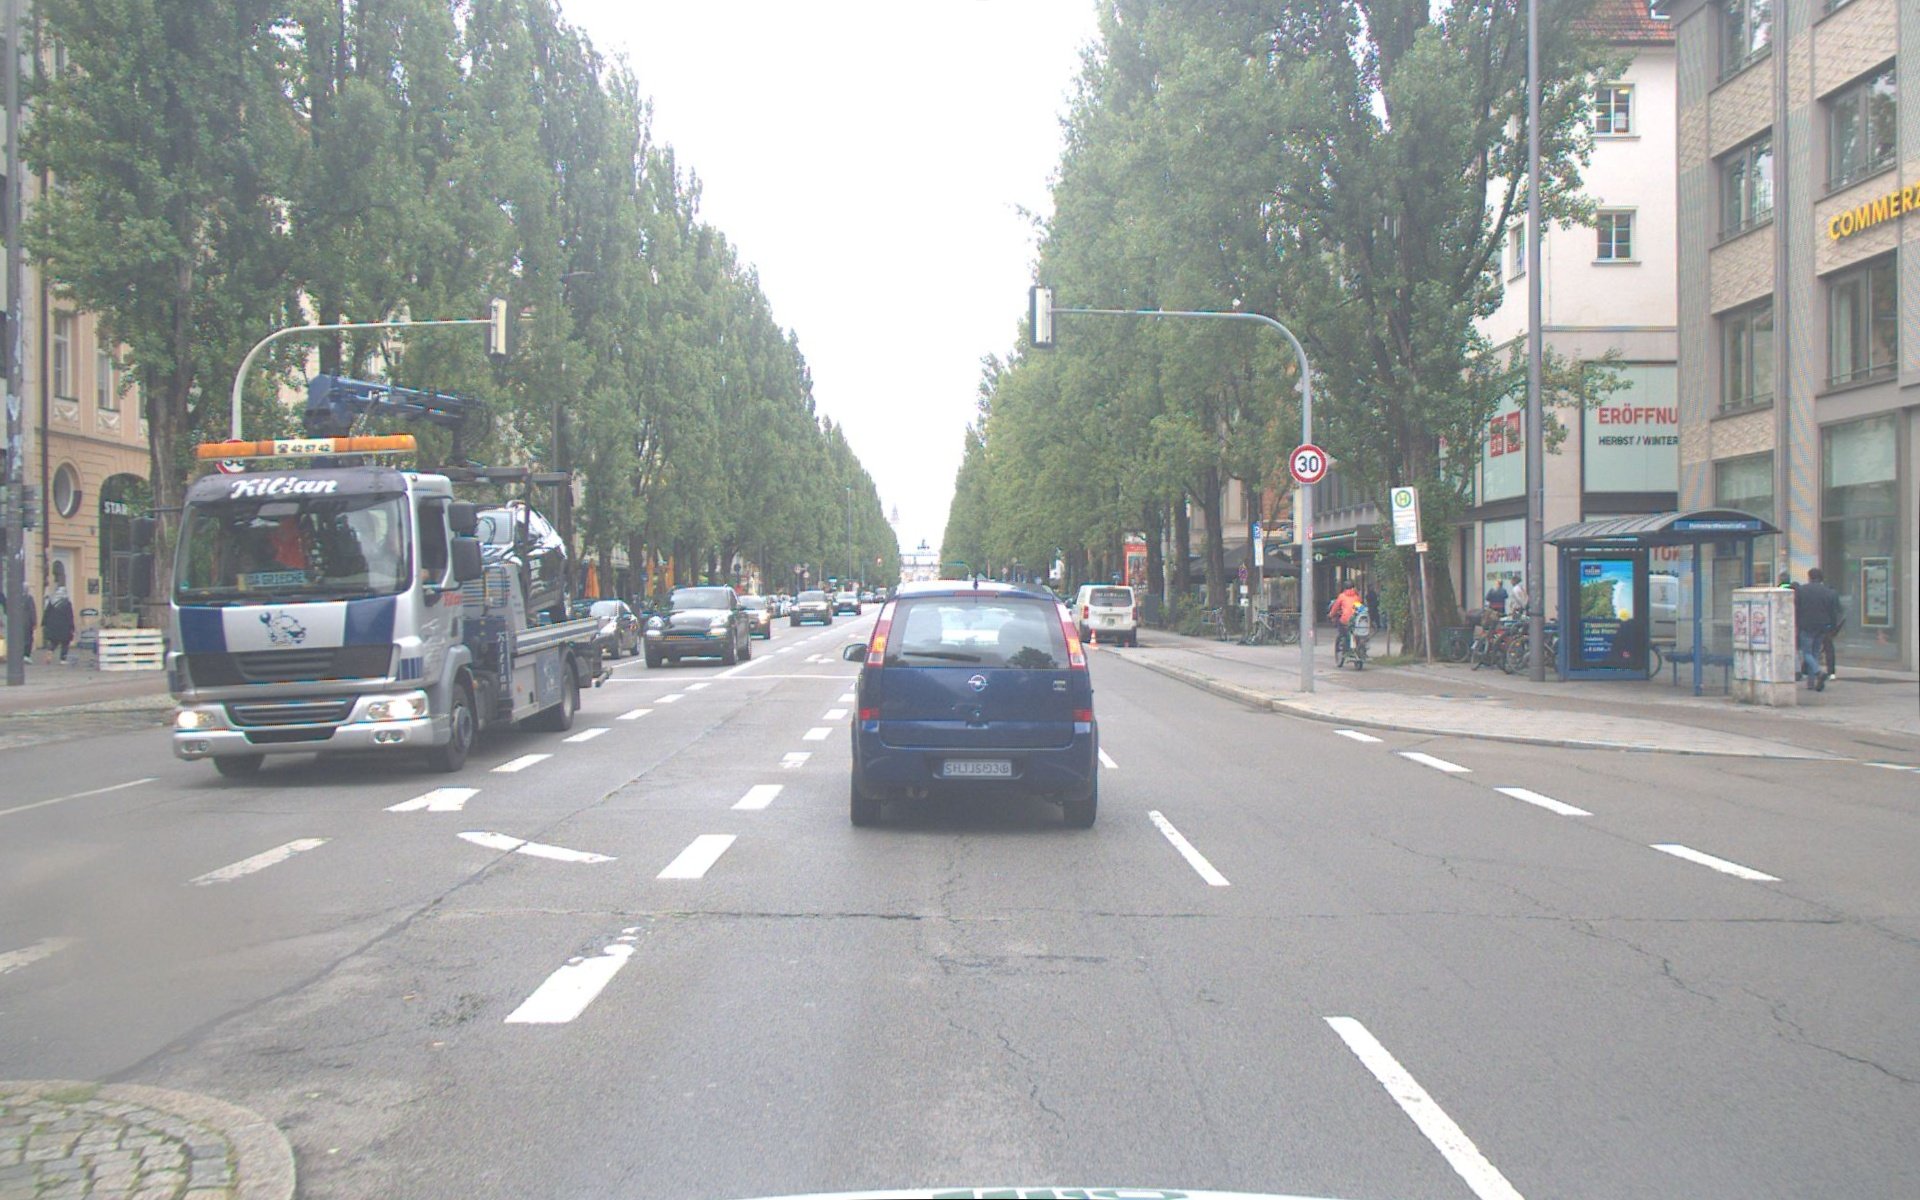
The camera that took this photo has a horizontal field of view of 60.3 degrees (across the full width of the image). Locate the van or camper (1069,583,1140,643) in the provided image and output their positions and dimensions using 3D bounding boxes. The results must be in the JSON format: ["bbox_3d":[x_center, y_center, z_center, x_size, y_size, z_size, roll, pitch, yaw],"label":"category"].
[{"bbox_3d":[4.847,0.411,56.063,1.831,1.916,4.901,0,0,-2],"label":"van or camper"}]

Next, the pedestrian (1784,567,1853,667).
[{"bbox_3d":[15.188,0.294,29.279,0.734,1.748,0.963,0,0,0],"label":"pedestrian"}]

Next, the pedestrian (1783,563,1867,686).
[{"bbox_3d":[13.222,0.366,25.306,0.802,1.849,0.890,0,0,-3],"label":"pedestrian"}]

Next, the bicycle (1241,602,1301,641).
[{"bbox_3d":[9.242,0.632,49.203,1.707,1.130,0.447,0,0,-12],"label":"bicycle"}]

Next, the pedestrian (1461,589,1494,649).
[{"bbox_3d":[14.763,0.534,47.211,0.638,1.692,0.962,0,0,-1],"label":"pedestrian"}]

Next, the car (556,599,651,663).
[{"bbox_3d":[-8.892,0.730,41.477,1.609,1.464,3.995,-2,0,-2],"label":"car"}]

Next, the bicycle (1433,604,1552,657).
[{"bbox_3d":[10.662,0.602,33.143,2.105,1.035,0.874,0,0,-2],"label":"bicycle"}]

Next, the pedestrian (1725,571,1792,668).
[{"bbox_3d":[14.416,0.347,29.874,0.734,1.706,0.963,-1,0,0],"label":"pedestrian"}]

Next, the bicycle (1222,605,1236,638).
[{"bbox_3d":[8.759,0.690,53.911,0.357,1.056,1.732,0,0,6],"label":"bicycle"}]

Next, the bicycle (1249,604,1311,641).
[{"bbox_3d":[9.382,0.664,48.524,1.727,1.062,0.482,0,0,-13],"label":"bicycle"}]

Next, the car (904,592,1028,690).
[{"bbox_3d":[0.031,0.644,28.465,1.953,1.523,3.998,-1,0,-2],"label":"car"}]

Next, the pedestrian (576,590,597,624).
[{"bbox_3d":[-19.874,0.383,88.052,0.834,1.775,1.148,0,0,-1],"label":"pedestrian"}]

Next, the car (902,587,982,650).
[{"bbox_3d":[-0.514,0.443,42.638,1.953,1.523,3.998,-1,0,-2],"label":"car"}]

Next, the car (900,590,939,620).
[{"bbox_3d":[-2.091,0.234,85.114,1.953,1.524,3.998,0,0,-2],"label":"car"}]

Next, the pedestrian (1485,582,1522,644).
[{"bbox_3d":[15.502,0.364,47.190,0.735,1.748,0.962,0,0,-1],"label":"pedestrian"}]

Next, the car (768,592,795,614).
[{"bbox_3d":[-13.176,0.229,122.344,1.798,1.573,4.084,-1,0,-3],"label":"car"}]

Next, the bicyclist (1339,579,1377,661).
[{"bbox_3d":[7.868,0.390,32.691,0.609,1.616,0.481,-1,0,-2],"label":"bicyclist"}]

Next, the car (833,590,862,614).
[{"bbox_3d":[-7.957,0.153,117.210,1.896,1.652,4.335,0,0,-2],"label":"car"}]

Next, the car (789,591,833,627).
[{"bbox_3d":[-7.243,0.413,80.758,1.874,1.710,4.585,0,0,-2],"label":"car"}]

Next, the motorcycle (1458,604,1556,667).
[{"bbox_3d":[10.421,0.672,31.535,1.689,1.159,0.510,0,0,0],"label":"motorcycle"}]

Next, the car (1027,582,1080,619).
[{"bbox_3d":[4.072,0.010,72.496,1.781,1.532,4.228,-1,0,-5],"label":"car"}]

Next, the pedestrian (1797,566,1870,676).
[{"bbox_3d":[14.528,0.358,27.528,0.734,1.789,0.859,-1,-2,0],"label":"pedestrian"}]

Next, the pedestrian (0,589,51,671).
[{"bbox_3d":[-20.090,0.627,35.400,0.717,1.711,0.977,1,0,-1],"label":"pedestrian"}]

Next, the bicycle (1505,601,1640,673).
[{"bbox_3d":[11.028,0.665,29.791,2.268,1.274,0.477,0,0,-2],"label":"bicycle"}]

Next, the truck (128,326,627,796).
[{"bbox_3d":[-5.490,-0.350,17.419,2.413,3.734,8.437,-1,0,-1],"label":"truck"}]

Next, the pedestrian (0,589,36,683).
[{"bbox_3d":[-17.157,0.638,29.551,0.762,1.647,0.934,-1,0,-2],"label":"pedestrian"}]

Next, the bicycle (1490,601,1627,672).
[{"bbox_3d":[10.991,0.662,30.384,2.296,1.274,0.633,0,0,-2],"label":"bicycle"}]

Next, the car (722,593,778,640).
[{"bbox_3d":[-7.164,0.546,56.759,1.530,1.522,3.693,-2,0,-2],"label":"car"}]

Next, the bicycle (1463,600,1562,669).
[{"bbox_3d":[10.344,0.648,30.992,1.689,1.261,0.449,0,0,0],"label":"bicycle"}]

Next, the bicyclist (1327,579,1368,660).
[{"bbox_3d":[7.837,0.391,33.452,0.609,1.616,0.752,-1,0,-2],"label":"bicyclist"}]

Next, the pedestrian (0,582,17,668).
[{"bbox_3d":[-20.873,0.527,35.432,0.783,1.818,0.911,1,0,-1],"label":"pedestrian"}]

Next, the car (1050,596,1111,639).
[{"bbox_3d":[4.449,0.634,61.427,1.685,1.467,4.351,2,0,-3],"label":"car"}]

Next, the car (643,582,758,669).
[{"bbox_3d":[-5.609,0.504,36.215,1.846,1.777,4.438,0,0,-1],"label":"car"}]

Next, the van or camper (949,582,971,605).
[{"bbox_3d":[-0.039,-0.758,192.208,2.426,2.626,5.843,-1,0,-1],"label":"van or camper"}]

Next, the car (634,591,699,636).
[{"bbox_3d":[-12.002,0.522,67.831,1.783,1.646,4.717,1,2,0],"label":"car"}]

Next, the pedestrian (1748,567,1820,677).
[{"bbox_3d":[13.741,0.373,27.591,0.734,1.789,0.859,-1,-2,0],"label":"pedestrian"}]

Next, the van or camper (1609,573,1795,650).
[{"bbox_3d":[19.381,0.286,43.307,4.019,1.899,1.898,1,0,2],"label":"van or camper"}]

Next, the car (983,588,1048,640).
[{"bbox_3d":[1.714,0.411,52.444,1.672,1.601,3.997,0,0,-4],"label":"car"}]

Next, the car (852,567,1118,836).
[{"bbox_3d":[0.080,0.618,12.303,1.647,1.670,3.998,0,0,-2],"label":"car"}]

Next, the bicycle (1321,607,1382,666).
[{"bbox_3d":[7.852,0.718,33.247,0.614,1.106,2.263,-1,0,-2],"label":"bicycle"}]

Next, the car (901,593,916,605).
[{"bbox_3d":[-6.746,-0.130,214.772,1.922,1.424,3.777,-1,0,-2],"label":"car"}]

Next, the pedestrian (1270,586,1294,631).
[{"bbox_3d":[13.778,0.355,70.796,0.809,1.873,1.099,0,0,-1],"label":"pedestrian"}]

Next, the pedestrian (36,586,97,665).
[{"bbox_3d":[-18.400,0.510,34.074,0.735,1.594,0.989,0,0,-2],"label":"pedestrian"}]

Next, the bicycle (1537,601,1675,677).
[{"bbox_3d":[11.131,0.665,28.541,2.194,1.274,0.477,0,0,23],"label":"bicycle"}]

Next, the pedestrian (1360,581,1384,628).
[{"bbox_3d":[15.164,0.144,60.909,0.656,1.636,0.772,-5,2,6],"label":"pedestrian"}]

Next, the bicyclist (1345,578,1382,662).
[{"bbox_3d":[7.879,0.390,32.309,0.609,1.616,0.391,-1,0,-2],"label":"bicyclist"}]
